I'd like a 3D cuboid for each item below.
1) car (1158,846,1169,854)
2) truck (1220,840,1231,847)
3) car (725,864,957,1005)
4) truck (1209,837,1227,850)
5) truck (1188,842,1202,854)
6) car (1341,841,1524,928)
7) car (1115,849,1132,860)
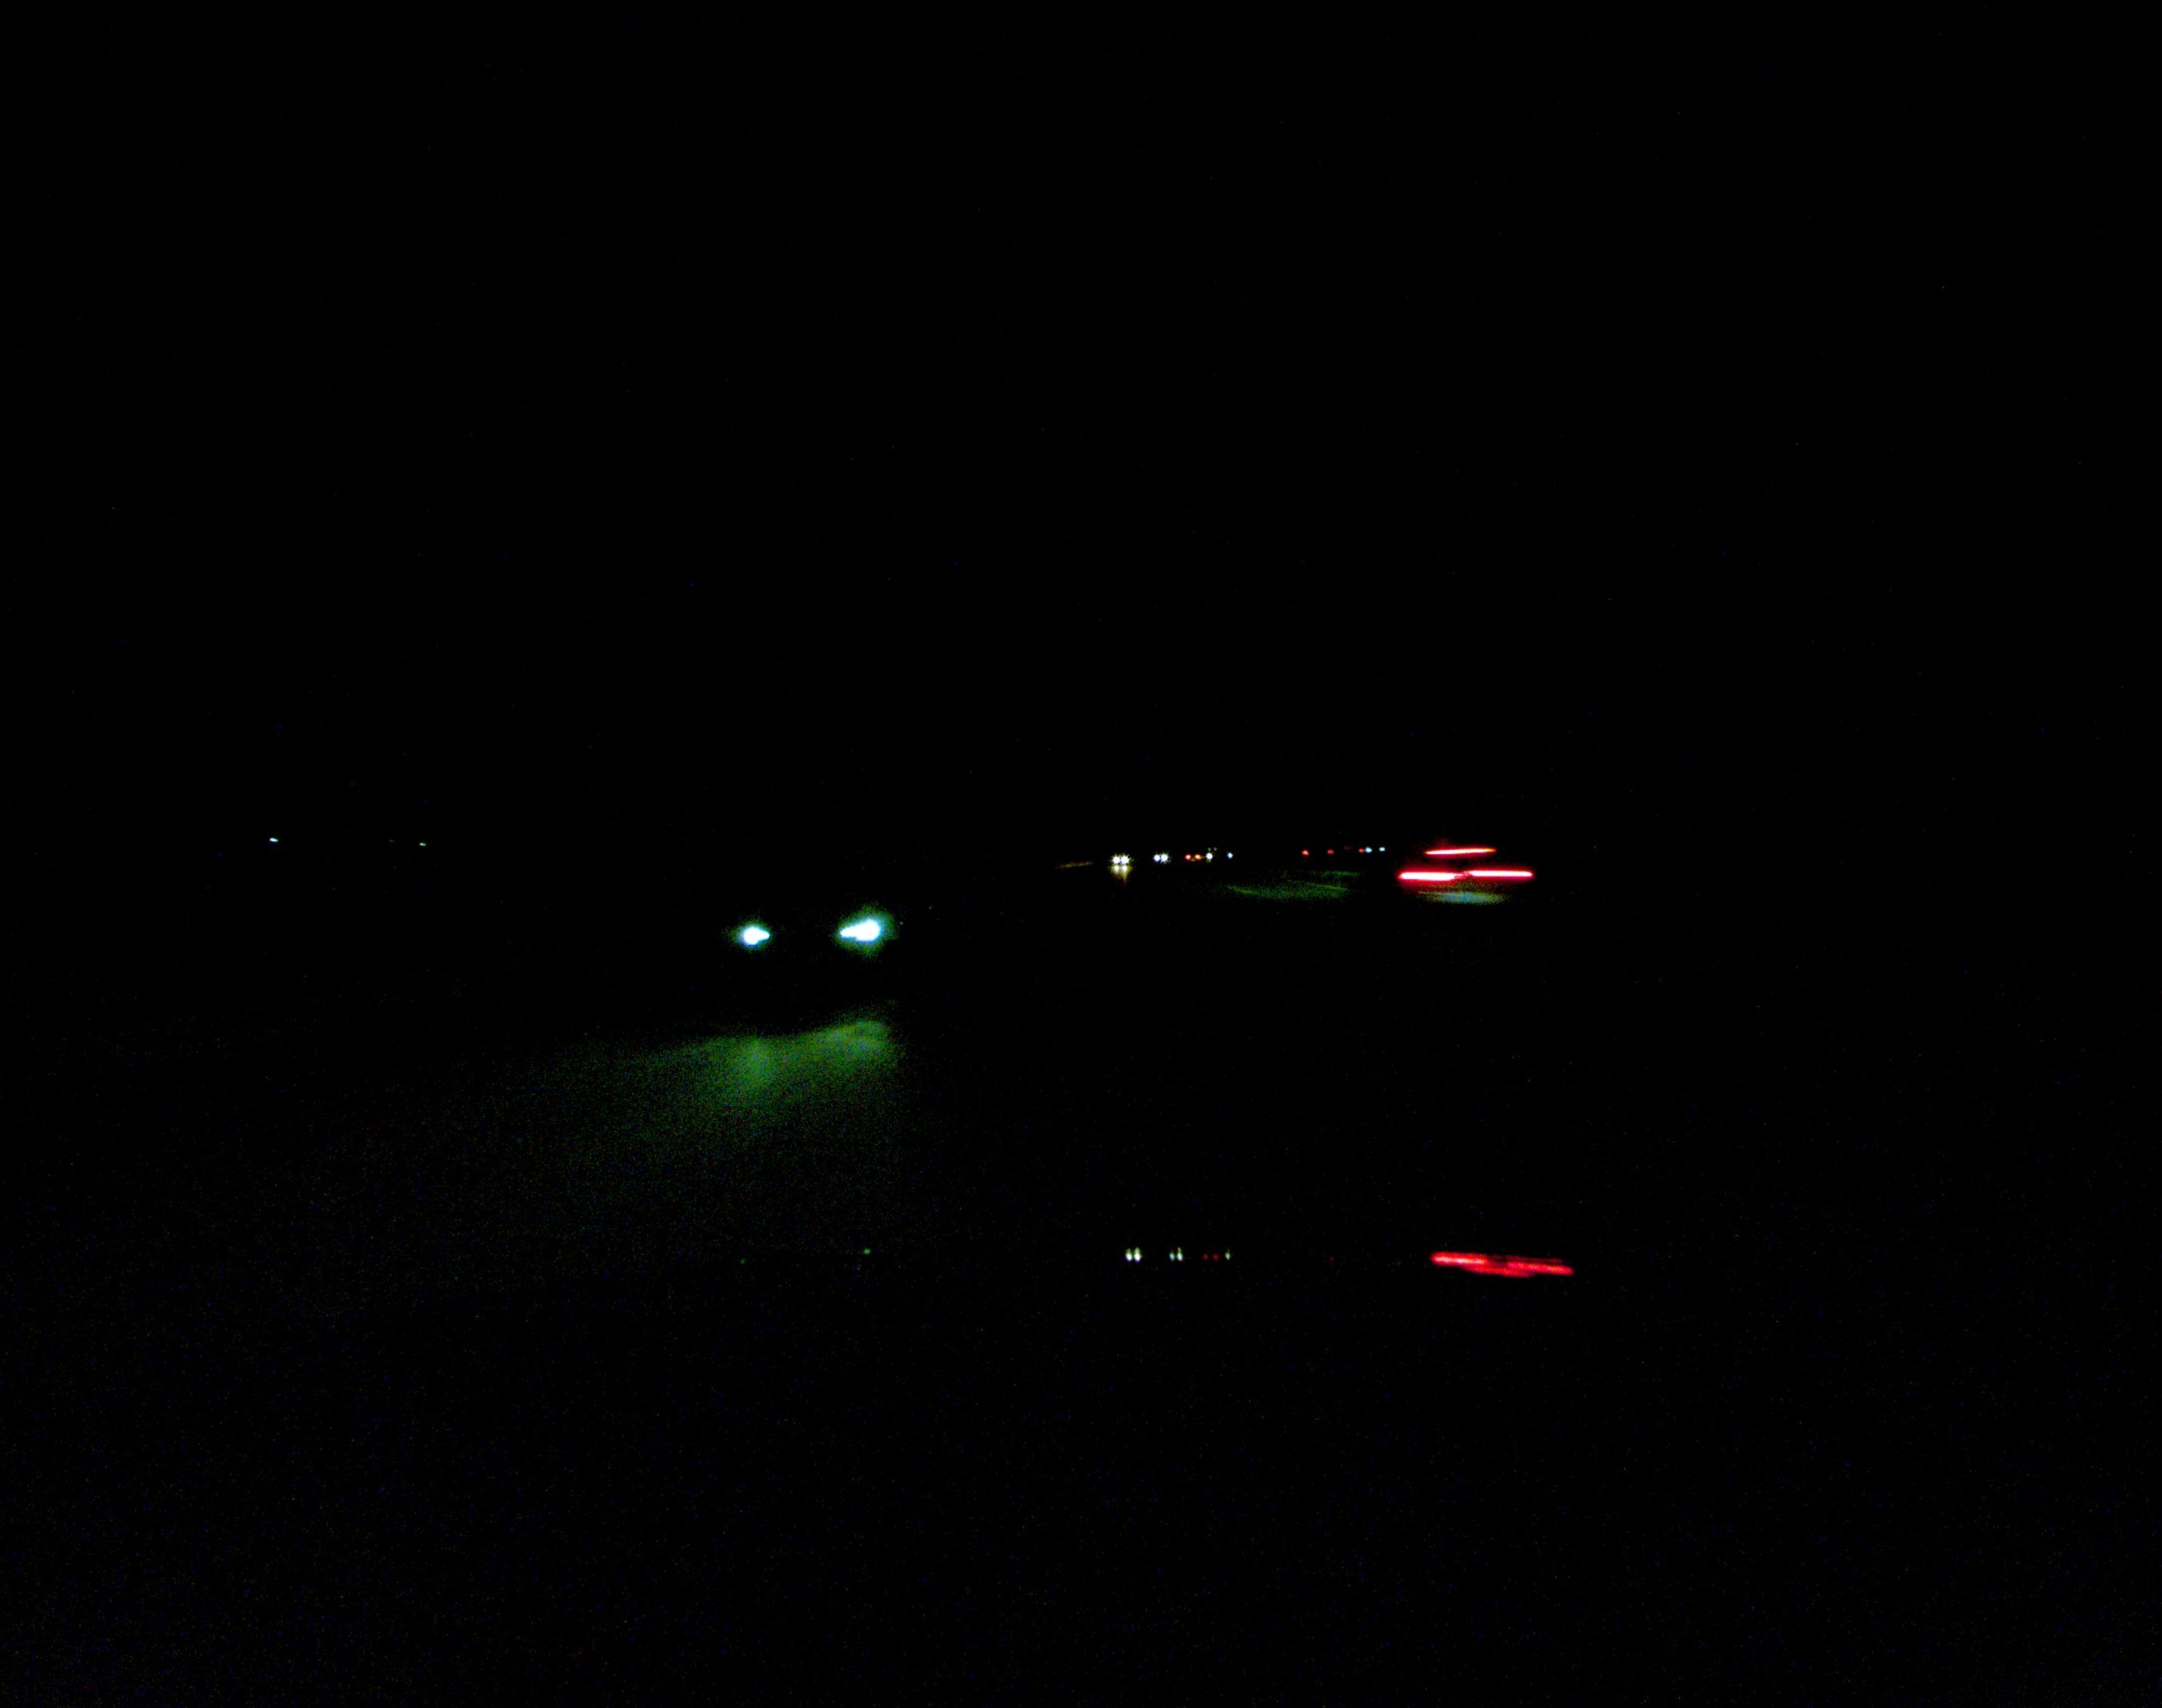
[{"bbox_3d":[16.932,-0.856,156.302,1.810,1.508,3.939,0,0,13],"label":"car"},{"bbox_3d":[47.294,-3.425,248.150,2.423,2.410,7.101,0,1,20],"label":"truck"},{"bbox_3d":[-3.176,0.972,11.260,1.812,1.418,4.873,-2,1,0],"label":"car"},{"bbox_3d":[46.288,-3.658,256.345,2.967,4.251,17.165,0,1,20],"label":"truck"},{"bbox_3d":[14.947,-0.786,99.791,1.686,1.461,4.155,-2,1,8],"label":"truck"},{"bbox_3d":[6.901,0.497,15.500,1.716,1.435,4.486,-3,1,2],"label":"car"},{"bbox_3d":[5.780,0.075,102.909,1.811,1.508,3.938,0,0,9],"label":"car"}]
